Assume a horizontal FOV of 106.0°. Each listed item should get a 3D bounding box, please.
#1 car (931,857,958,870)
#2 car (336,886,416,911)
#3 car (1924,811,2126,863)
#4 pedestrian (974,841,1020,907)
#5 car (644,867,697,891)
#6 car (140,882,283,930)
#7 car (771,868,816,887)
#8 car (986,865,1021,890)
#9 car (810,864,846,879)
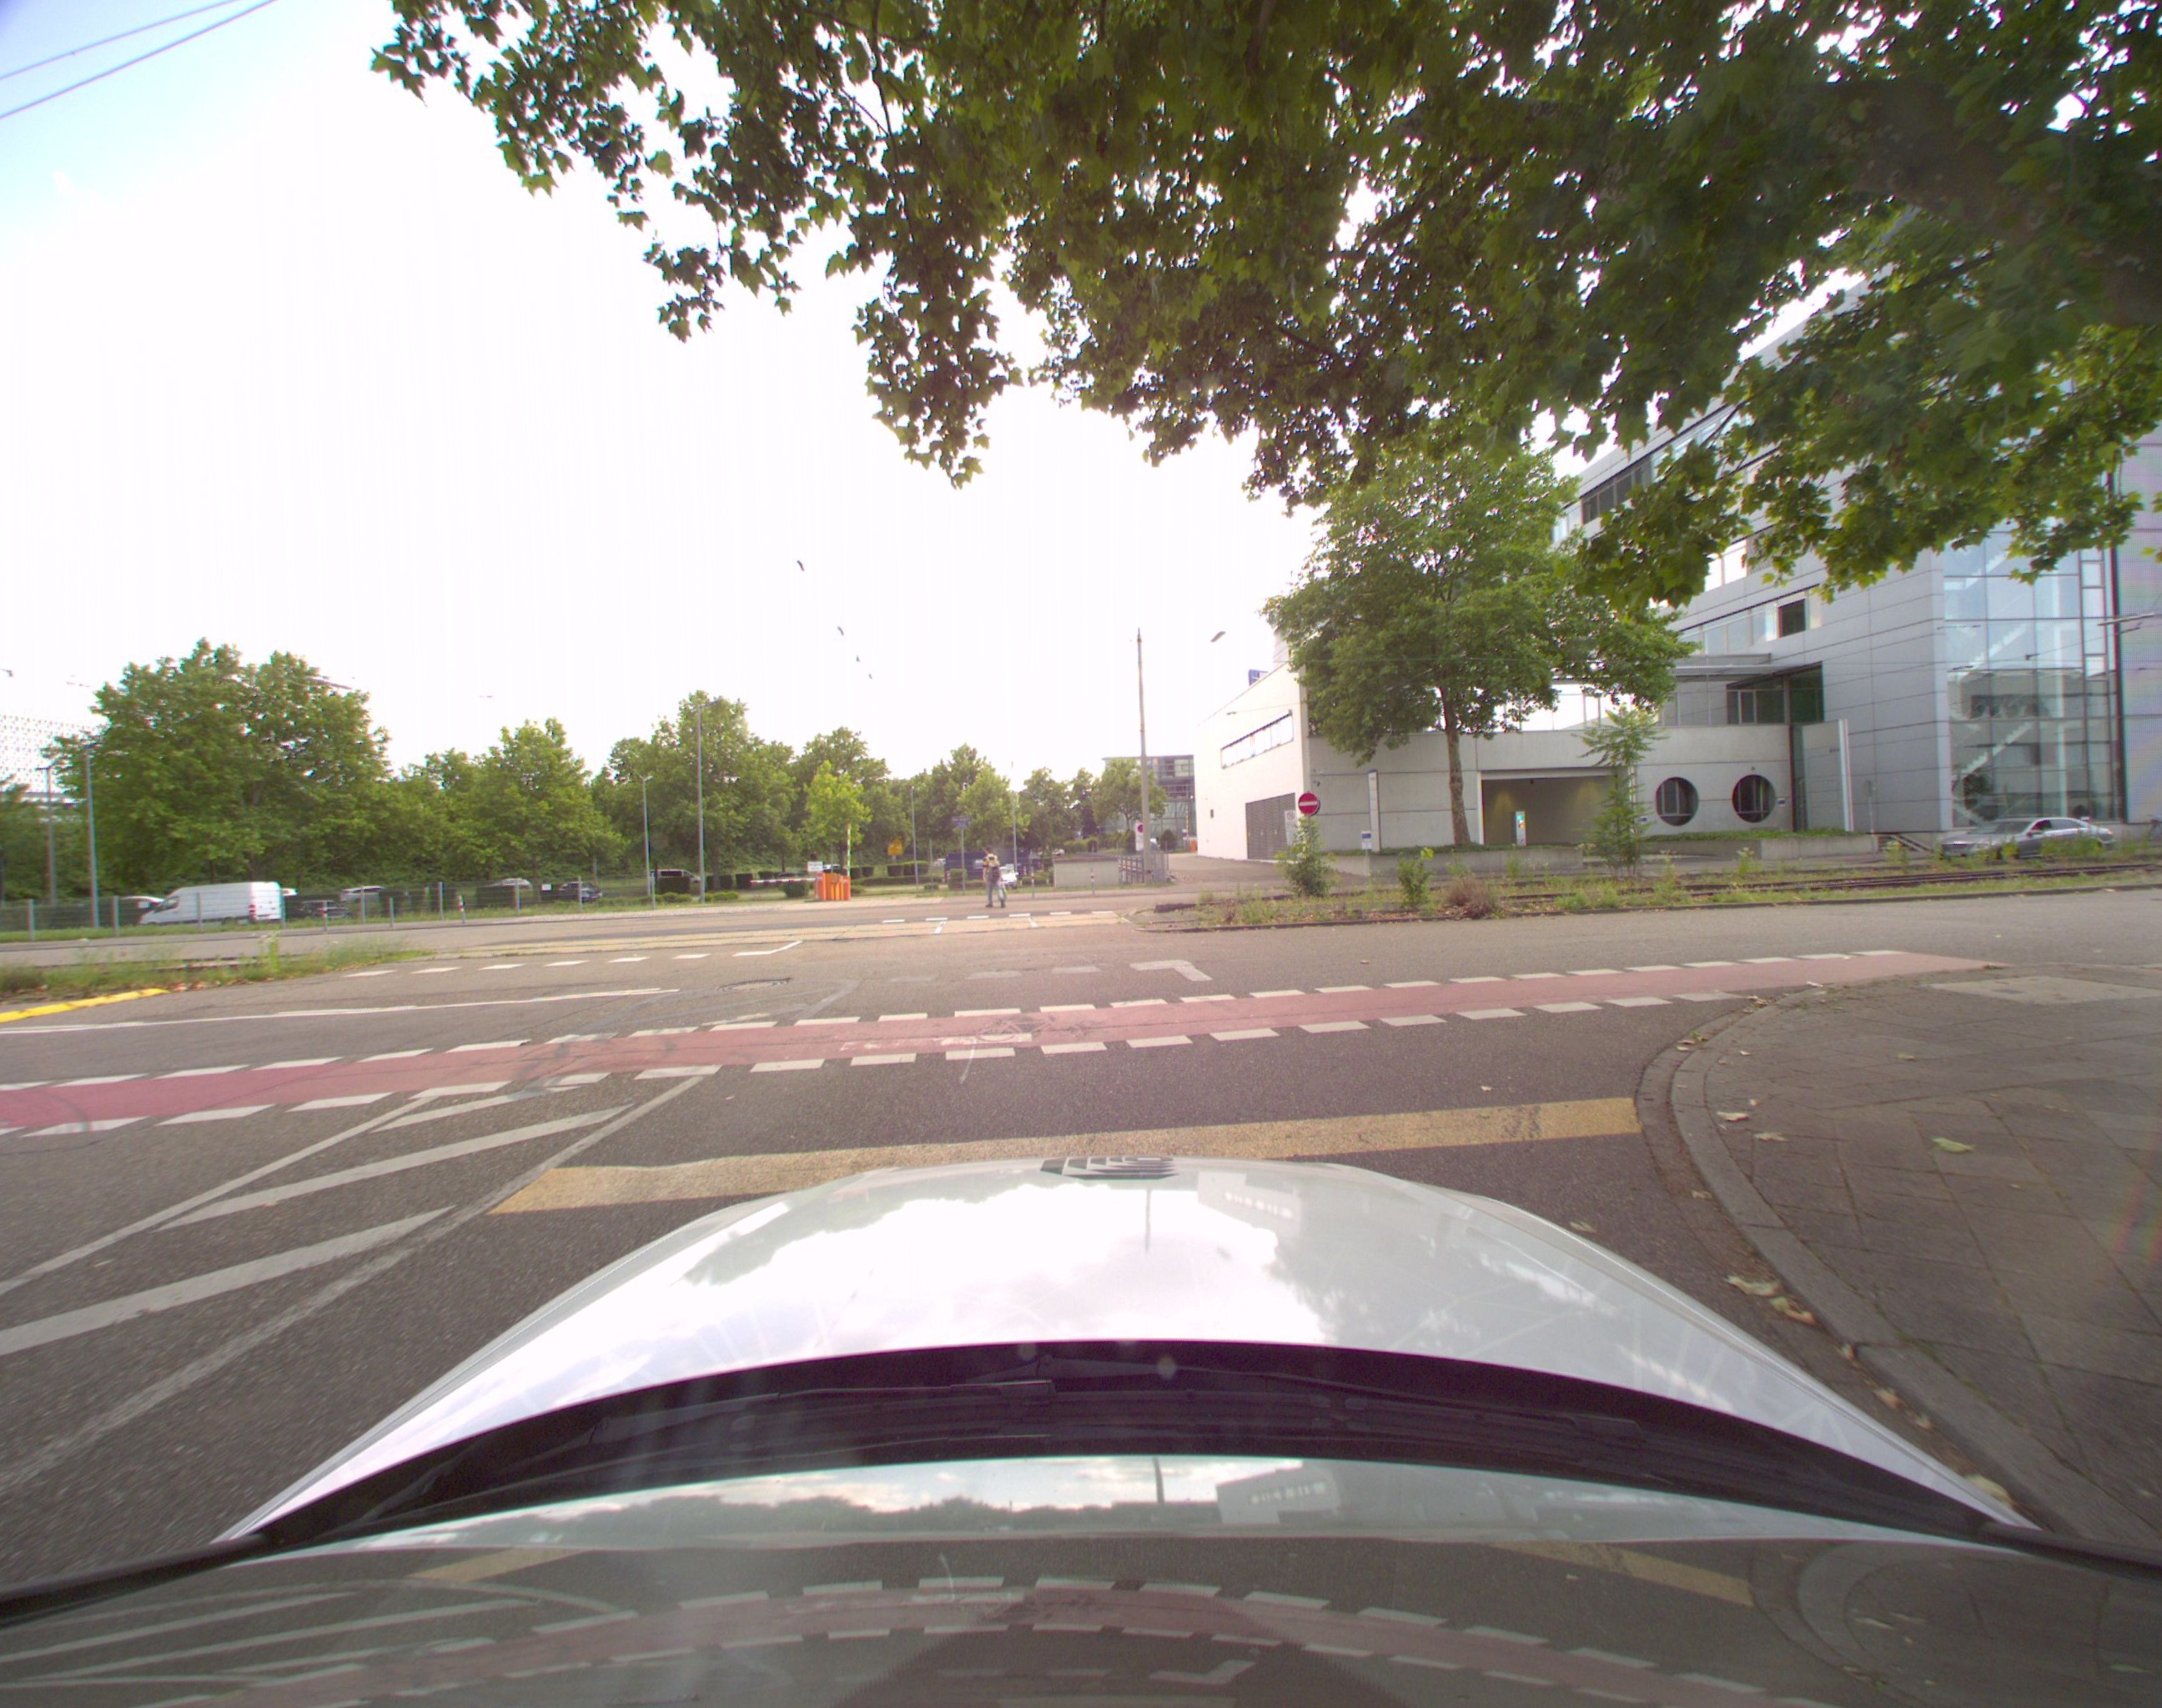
[{"bbox_3d":[-21.101,1.477,125.995,1.896,1.721,4.326,-2,0,28],"label":"car"},{"bbox_3d":[-55.742,3.501,64.440,1.975,1.684,4.288,-2,0,27],"label":"car"},{"bbox_3d":[31.127,-0.546,26.922,4.945,1.431,1.770,-3,0,-5],"label":"car"},{"bbox_3d":[-2.468,0.563,23.684,1.004,1.849,1.221,-2,0,-20],"label":"pedestrian"},{"bbox_3d":[-42.252,2.549,83.869,1.837,2.135,4.597,-2,0,27],"label":"car"},{"bbox_3d":[-47.137,2.771,44.263,5.283,2.211,1.793,-3,0,-8],"label":"car"},{"bbox_3d":[-28.419,2.304,80.419,3.949,1.701,1.921,-2,0,27],"label":"car"},{"bbox_3d":[-4.783,1.427,50.713,1.927,1.403,4.076,-3,0,-3],"label":"car"},{"bbox_3d":[-33.090,2.250,106.732,1.896,1.721,4.326,-2,0,28],"label":"car"}]
